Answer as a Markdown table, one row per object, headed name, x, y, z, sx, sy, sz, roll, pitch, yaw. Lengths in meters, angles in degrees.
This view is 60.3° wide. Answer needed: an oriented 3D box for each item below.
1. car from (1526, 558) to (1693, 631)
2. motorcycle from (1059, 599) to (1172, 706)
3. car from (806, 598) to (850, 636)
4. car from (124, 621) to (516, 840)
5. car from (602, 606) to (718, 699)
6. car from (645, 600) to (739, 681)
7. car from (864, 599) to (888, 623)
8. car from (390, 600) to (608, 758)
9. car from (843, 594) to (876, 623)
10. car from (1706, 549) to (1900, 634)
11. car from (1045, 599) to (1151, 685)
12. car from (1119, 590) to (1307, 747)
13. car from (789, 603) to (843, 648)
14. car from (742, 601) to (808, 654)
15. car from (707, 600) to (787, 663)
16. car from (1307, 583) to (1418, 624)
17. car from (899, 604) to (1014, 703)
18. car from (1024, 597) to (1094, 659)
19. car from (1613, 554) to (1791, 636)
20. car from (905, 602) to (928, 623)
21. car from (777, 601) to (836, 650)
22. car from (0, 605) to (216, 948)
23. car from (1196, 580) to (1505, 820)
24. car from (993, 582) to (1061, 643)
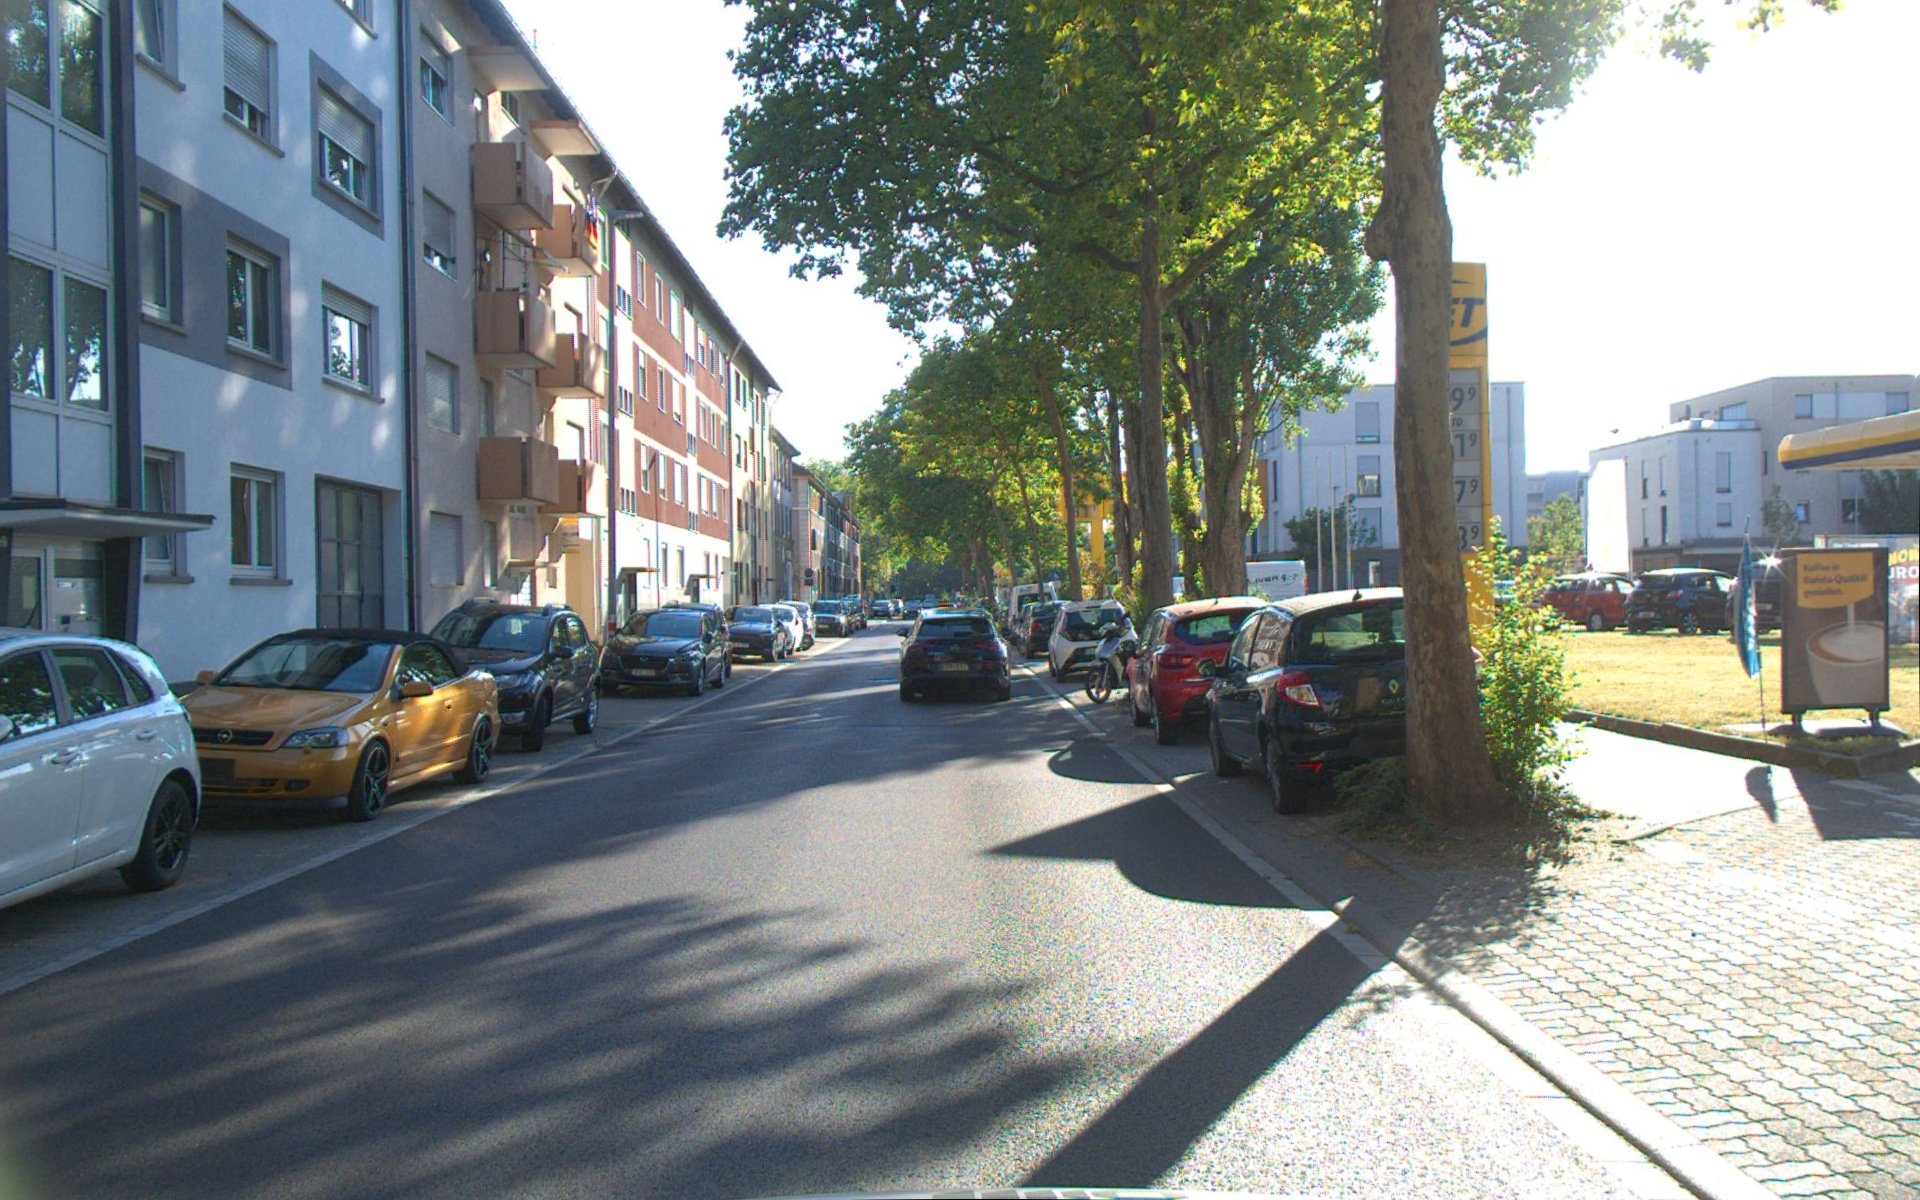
| name | x | y | z | sx | sy | sz | roll | pitch | yaw |
| --- | --- | --- | --- | --- | --- | --- | --- | --- | --- |
| car | 16.978 | -0.151 | 43.269 | 3.767 | 1.741 | 1.831 | -2 | 0 | -19 |
| motorcycle | 2.354 | 0.786 | 25.027 | 1.618 | 1.585 | 0.607 | 1 | -1 | -22 |
| car | -5.997 | 0.747 | 75.467 | 1.677 | 1.589 | 3.801 | 2 | 0 | 0 |
| car | -5.067 | 0.941 | 13.740 | 1.563 | 1.459 | 4.217 | 0 | 0 | 1 |
| car | -5.388 | 0.898 | 30.102 | 1.679 | 1.490 | 3.793 | 2 | 0 | -5 |
| car | -5.800 | 0.851 | 36.136 | 1.679 | 1.589 | 3.793 | 2 | 0 | -5 |
| car | -7.141 | 0.939 | 141.243 | 1.868 | 1.982 | 3.999 | -1 | -1 | -1 |
| car | -5.318 | 0.846 | 19.531 | 1.564 | 1.658 | 3.837 | 0 | 0 | -1 |
| car | -5.851 | 0.512 | 96.727 | 1.677 | 1.589 | 3.801 | 2 | 0 | 0 |
| car | 17.489 | -0.188 | 34.298 | 3.781 | 1.616 | 1.683 | -2 | 0 | -28 |
| car | 2.636 | 0.784 | 32.258 | 1.687 | 1.585 | 3.600 | 0 | 0 | -1 |
| car | 2.796 | 0.723 | 18.916 | 1.528 | 1.624 | 3.600 | 0 | 0 | -1 |
| car | -5.486 | 0.953 | 63.496 | 1.677 | 1.589 | 3.801 | 2 | 0 | 0 |
| car | -5.994 | 0.876 | 53.882 | 1.677 | 1.589 | 3.801 | 2 | 0 | 0 |
| car | -5.850 | 0.844 | 45.851 | 1.677 | 1.589 | 3.801 | 2 | 0 | 0 |
| car | 15.839 | 0.154 | 65.246 | 3.907 | 1.556 | 1.806 | -1 | -1 | -2 |
| car | 0.012 | 0.815 | 27.211 | 1.708 | 1.469 | 3.970 | 0 | 0 | 3 |
| car | 2.611 | 0.721 | 44.318 | 1.600 | 1.585 | 3.600 | 0 | 0 | -1 |
| car | 17.244 | -0.127 | 38.441 | 3.781 | 1.741 | 1.824 | -2 | 0 | -28 |
| car | -3.721 | 1.069 | 141.204 | 1.863 | 1.690 | 3.999 | -1 | -1 | -1 |
| car | -5.400 | 0.885 | 58.665 | 1.677 | 1.589 | 3.801 | 2 | 0 | 0 |
| car | -5.170 | 0.819 | 7.858 | 1.516 | 1.550 | 4.004 | 0 | 0 | -1 |
| car | 2.921 | 0.695 | 13.066 | 1.528 | 1.624 | 3.600 | 0 | 0 | -1 |
| car | 2.298 | 0.461 | 57.431 | 1.954 | 2.049 | 3.997 | -1 | -1 | -4 |
